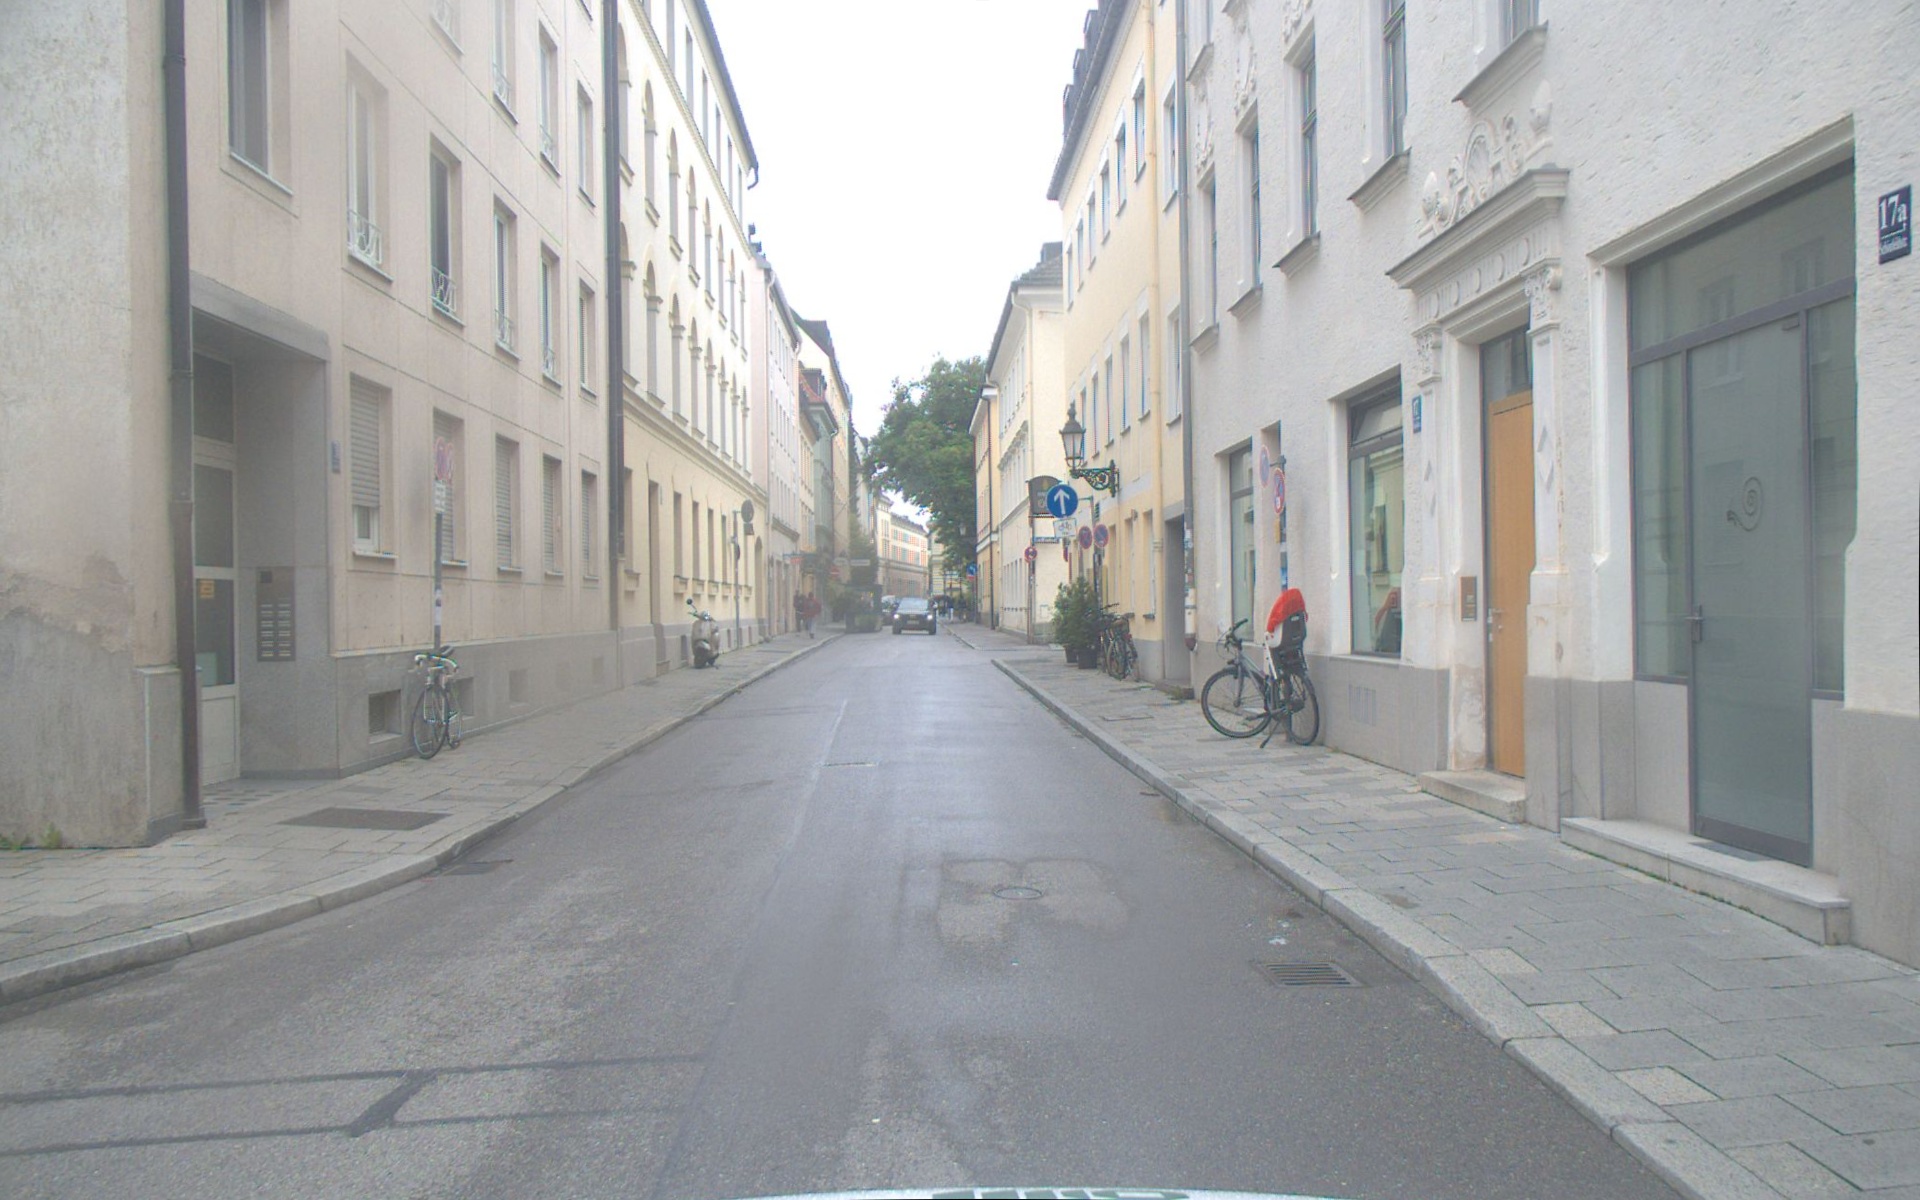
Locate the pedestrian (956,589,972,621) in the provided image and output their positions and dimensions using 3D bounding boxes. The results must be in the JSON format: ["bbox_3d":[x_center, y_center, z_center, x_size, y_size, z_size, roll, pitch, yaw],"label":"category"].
[{"bbox_3d":[0.236,0.275,96.095,0.862,1.833,1.046,0,0,-1],"label":"pedestrian"}]

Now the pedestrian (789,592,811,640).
[{"bbox_3d":[-6.082,0.593,63.010,0.793,1.786,0.989,0,1,-4],"label":"pedestrian"}]

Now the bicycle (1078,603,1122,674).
[{"bbox_3d":[2.410,0.646,28.629,0.554,1.156,1.684,-3,0,-1],"label":"bicycle"}]

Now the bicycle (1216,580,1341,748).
[{"bbox_3d":[2.913,0.547,15.337,0.699,1.420,2.122,-3,0,1],"label":"bicycle"}]

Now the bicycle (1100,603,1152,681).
[{"bbox_3d":[2.639,0.653,26.416,0.554,1.156,1.987,-3,0,-1],"label":"bicycle"}]

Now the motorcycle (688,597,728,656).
[{"bbox_3d":[-5.200,0.533,34.229,0.590,1.194,1.708,0,0,-1],"label":"motorcycle"}]

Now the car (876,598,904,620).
[{"bbox_3d":[-4.981,0.615,117.625,1.743,1.492,3.542,0,0,1],"label":"car"}]

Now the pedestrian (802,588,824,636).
[{"bbox_3d":[-5.419,0.437,61.033,0.750,1.738,0.785,-1,0,-4],"label":"pedestrian"}]

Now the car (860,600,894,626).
[{"bbox_3d":[-4.852,0.734,97.413,1.743,1.492,3.663,0,0,1],"label":"car"}]

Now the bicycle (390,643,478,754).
[{"bbox_3d":[-5.068,0.925,16.001,0.313,0.960,1.574,2,0,0],"label":"bicycle"}]

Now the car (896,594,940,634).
[{"bbox_3d":[-1.740,0.568,70.373,1.775,1.622,4.000,-1,0,0],"label":"car"}]
